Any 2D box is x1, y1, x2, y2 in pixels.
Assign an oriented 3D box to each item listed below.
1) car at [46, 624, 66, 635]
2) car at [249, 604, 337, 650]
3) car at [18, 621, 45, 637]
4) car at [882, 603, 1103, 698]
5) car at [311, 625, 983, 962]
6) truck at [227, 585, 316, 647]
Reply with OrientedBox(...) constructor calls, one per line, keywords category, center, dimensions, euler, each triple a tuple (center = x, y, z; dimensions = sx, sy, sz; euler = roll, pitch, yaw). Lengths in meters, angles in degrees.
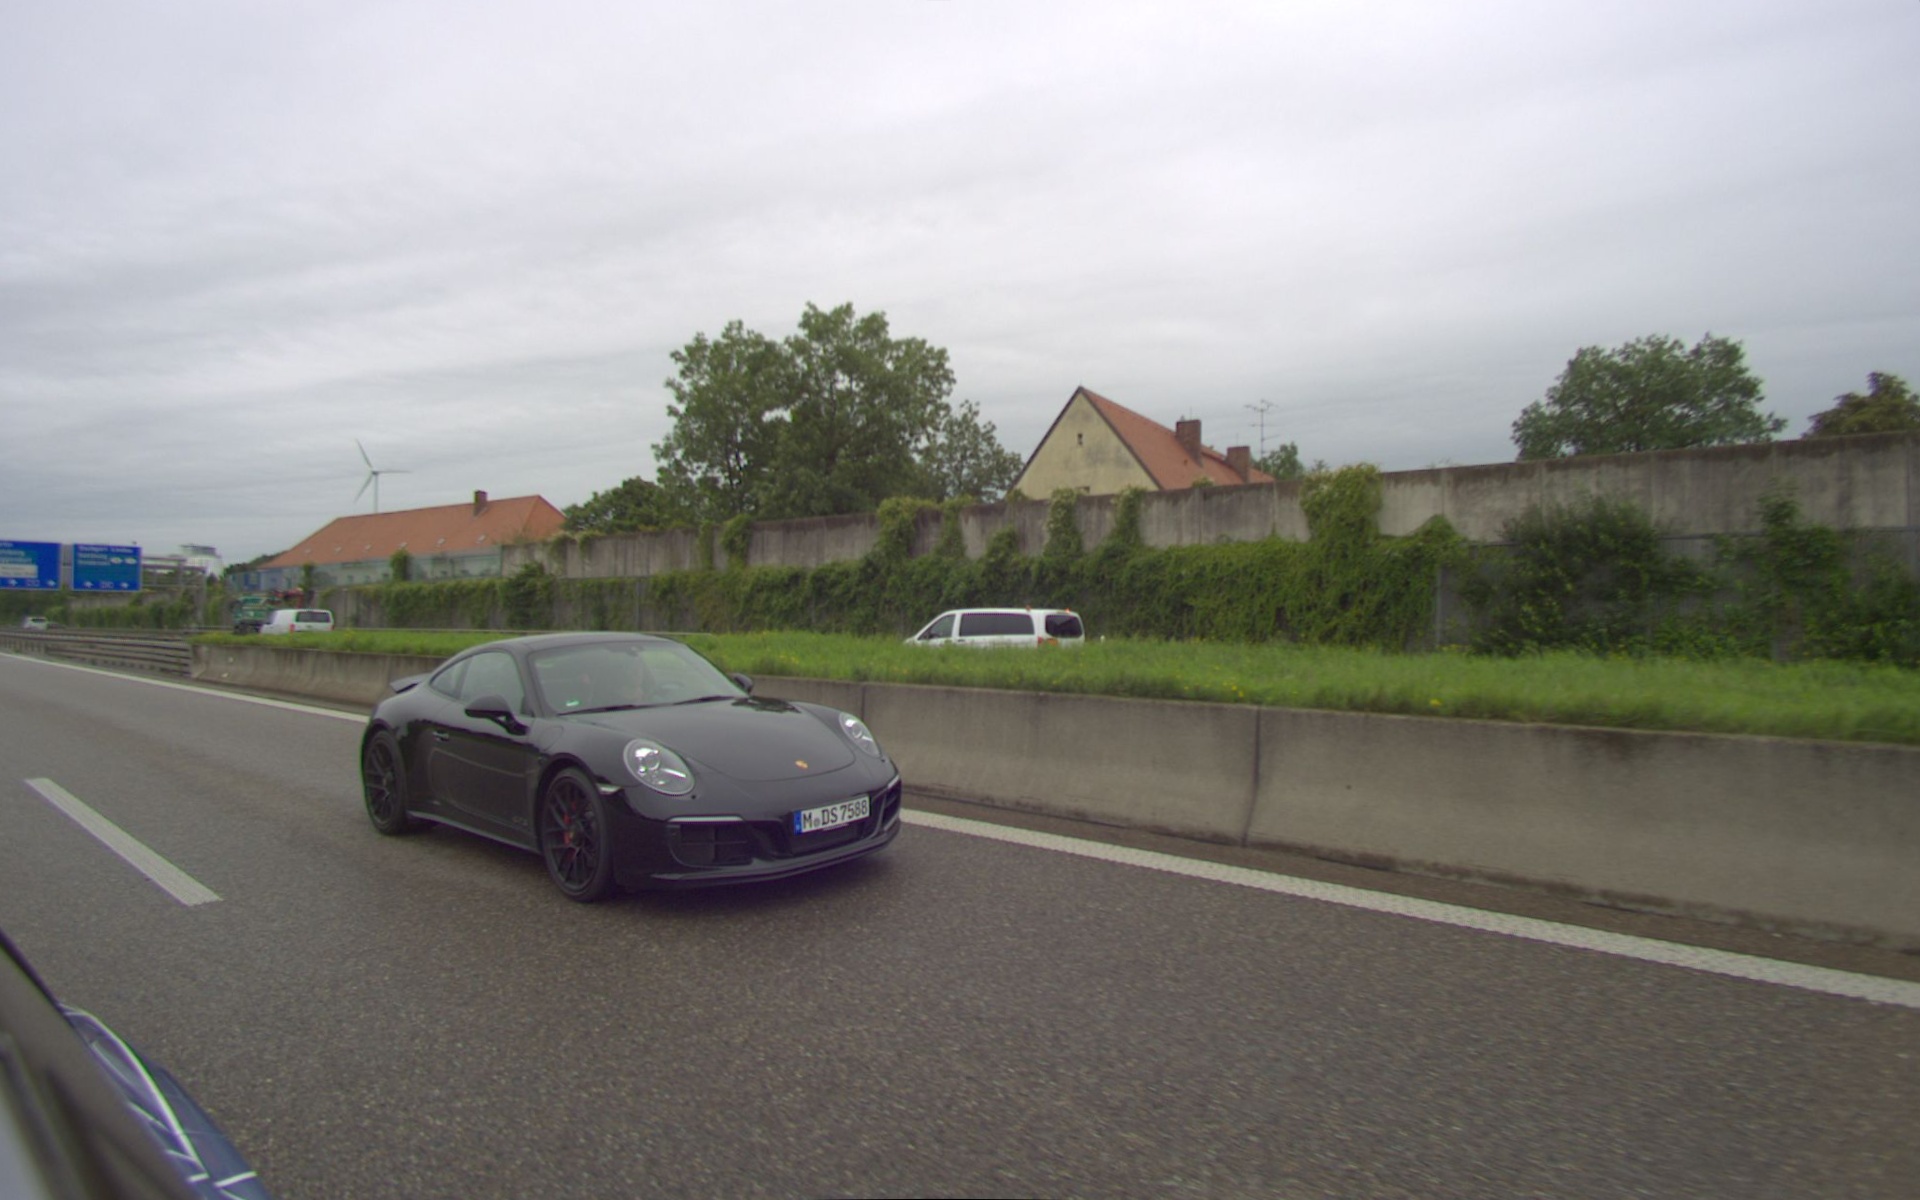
OrientedBox(category="car", center=(-138.343, 4.473, 154.877), dimensions=(4.521, 1.564, 1.935), euler=(-1, 0, 43))
OrientedBox(category="car", center=(-31.045, 1.237, 47.049), dimensions=(5.191, 2.029, 2.059), euler=(-1, -1, 40))
OrientedBox(category="car", center=(-118.110, 3.672, 128.739), dimensions=(4.954, 2.029, 1.973), euler=(-1, 0, 41))
OrientedBox(category="car", center=(0.680, 1.124, 24.397), dimensions=(5.223, 2.029, 1.973), euler=(-1, 0, 40))
OrientedBox(category="car", center=(-2.276, 0.839, 6.324), dimensions=(4.921, 1.281, 1.634), euler=(-1, 0, 40))
OrientedBox(category="truck", center=(-45.254, 1.027, 66.434), dimensions=(8.331, 3.805, 2.664), euler=(-1, 0, 40))
